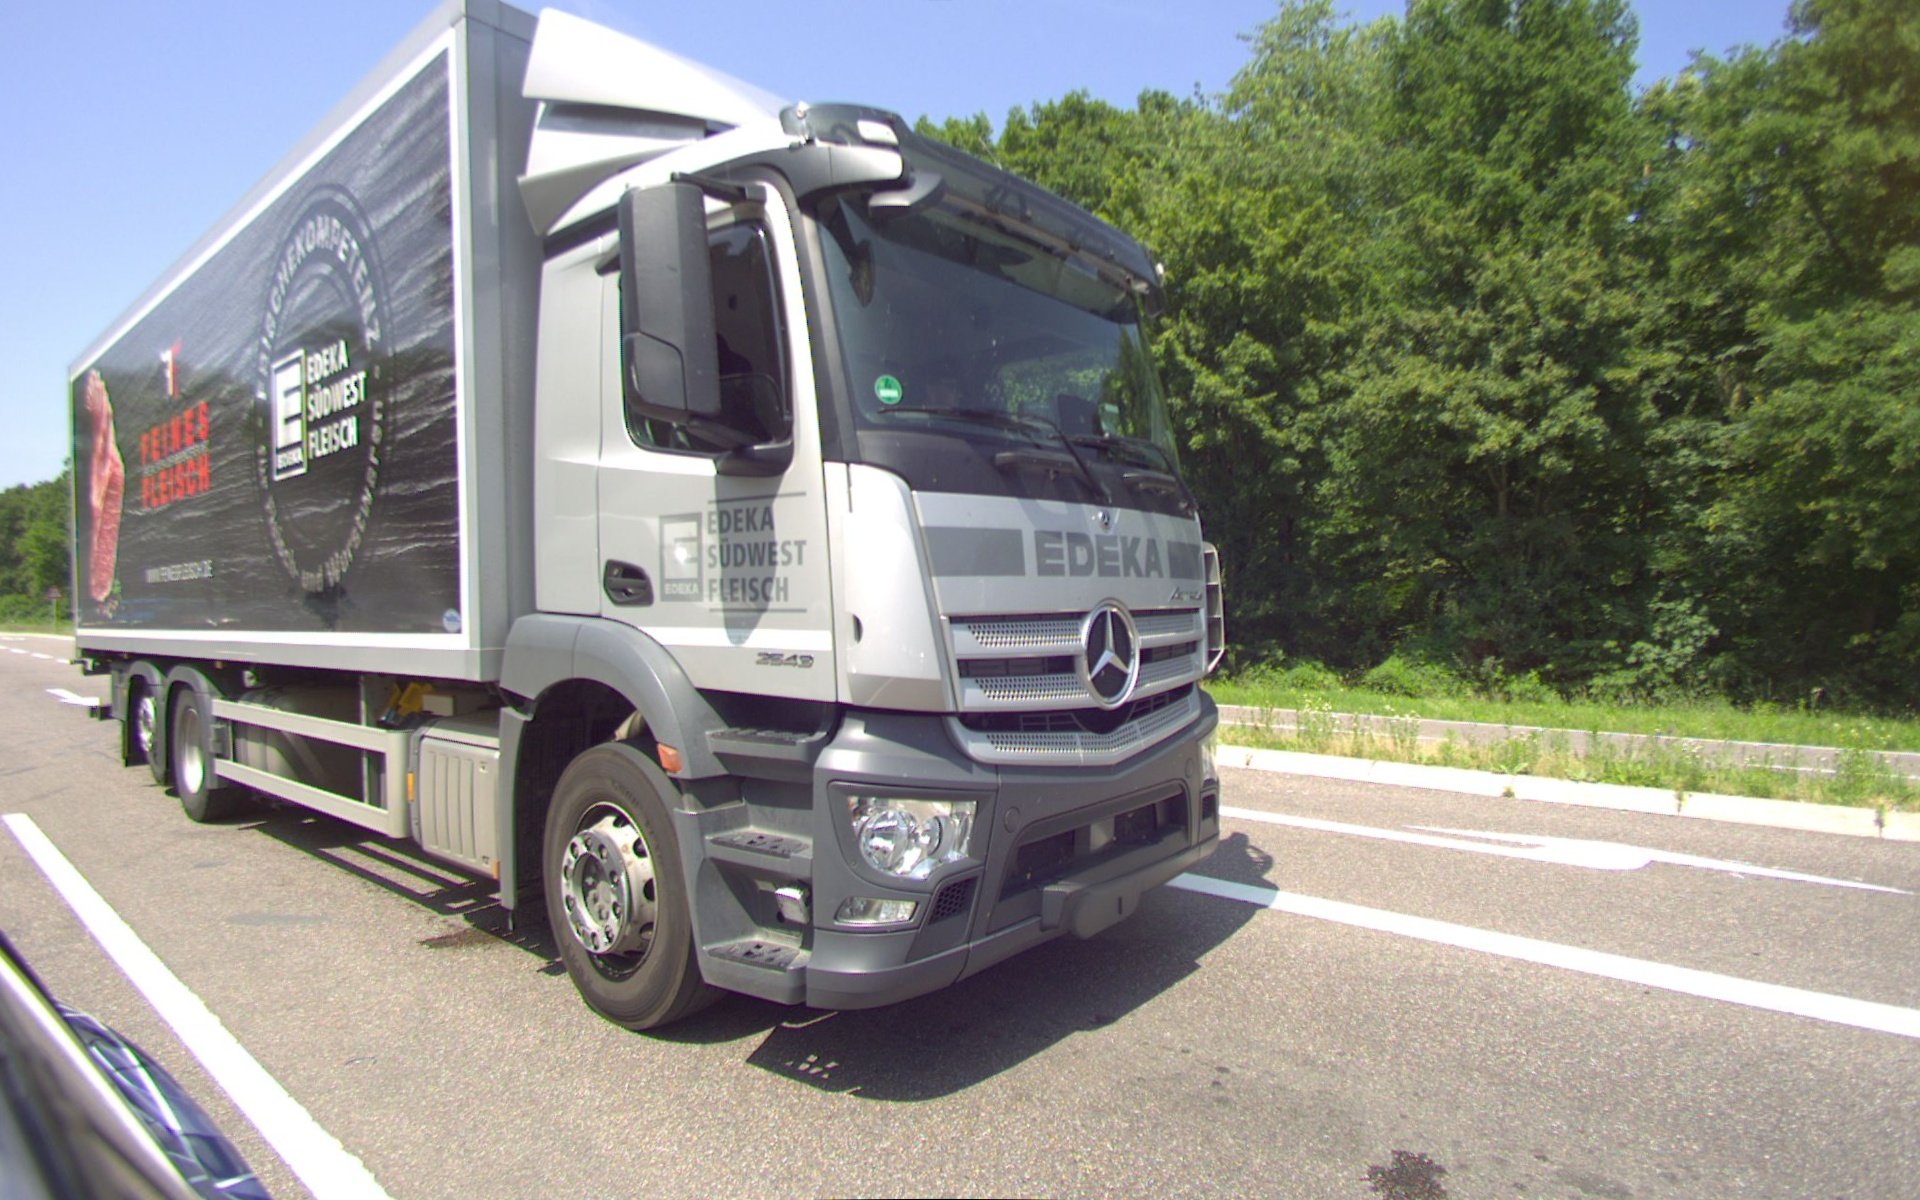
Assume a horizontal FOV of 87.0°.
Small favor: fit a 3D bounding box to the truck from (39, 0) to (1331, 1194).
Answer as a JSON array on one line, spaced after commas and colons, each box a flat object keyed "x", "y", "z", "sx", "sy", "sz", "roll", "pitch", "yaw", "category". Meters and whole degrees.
[{"x": -3.577, "y": -0.533, "z": 7.048, "sx": 11.311, "sy": 3.914, "sz": 2.718, "roll": -1, "pitch": 0, "yaw": 40, "category": "truck"}]
